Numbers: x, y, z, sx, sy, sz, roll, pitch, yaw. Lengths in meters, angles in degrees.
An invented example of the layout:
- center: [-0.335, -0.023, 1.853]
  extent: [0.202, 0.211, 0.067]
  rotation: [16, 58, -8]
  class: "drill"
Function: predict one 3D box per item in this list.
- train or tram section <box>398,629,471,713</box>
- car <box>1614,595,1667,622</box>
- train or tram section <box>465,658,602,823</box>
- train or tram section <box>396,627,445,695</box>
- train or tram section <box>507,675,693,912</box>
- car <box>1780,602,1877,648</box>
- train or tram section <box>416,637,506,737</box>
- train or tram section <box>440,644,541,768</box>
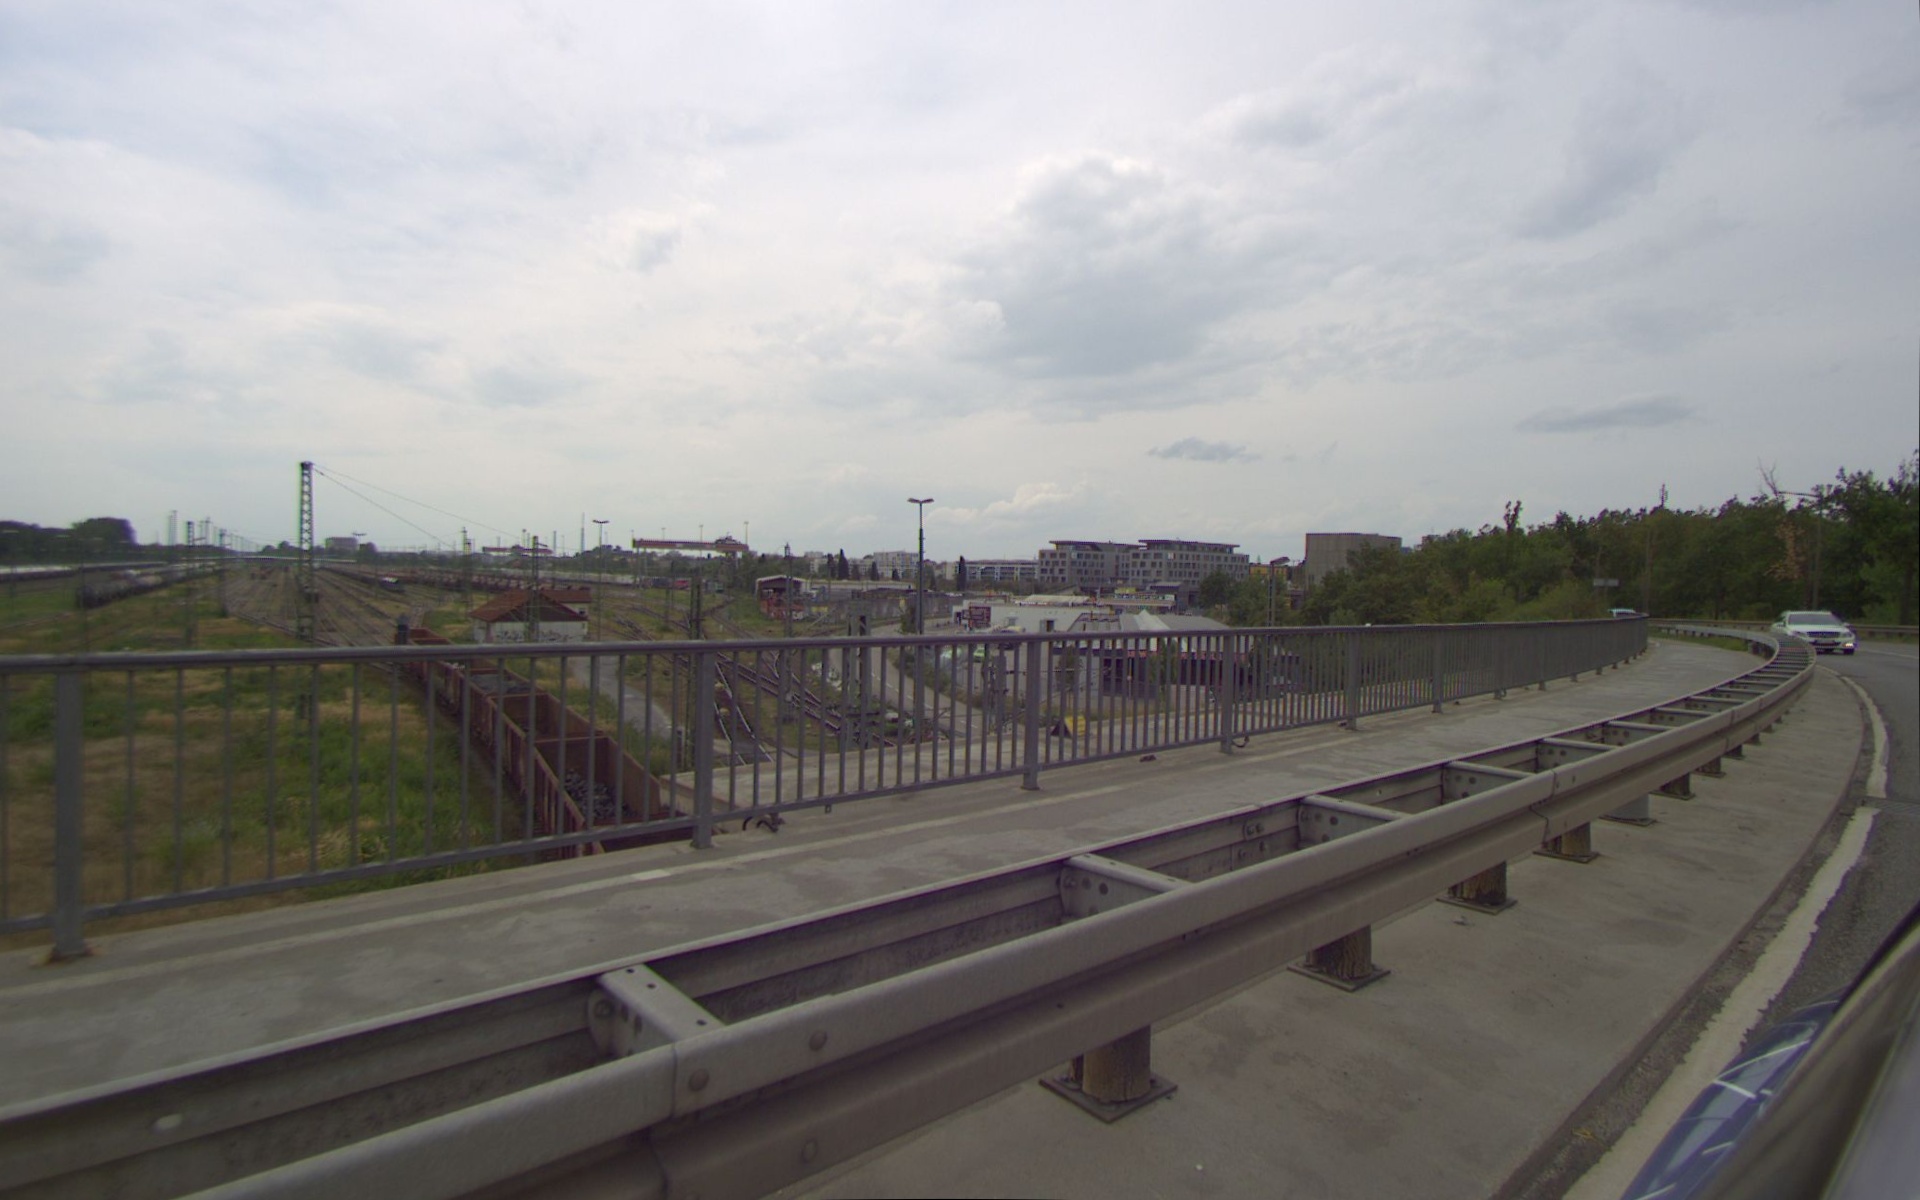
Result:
- center: [-44.476, 5.622, 85.197]
  extent: [3.883, 5.714, 18.285]
  rotation: [0, 0, -32]
  class: "train or tram section"
- center: [45.007, 0.588, 67.023]
  extent: [1.940, 1.726, 4.399]
  rotation: [0, -1, 22]
  class: "car"
- center: [-20.162, 5.936, 46.986]
  extent: [3.587, 5.669, 14.266]
  rotation: [0, 0, -32]
  class: "train or tram section"
- center: [-53.260, 5.713, 99.618]
  extent: [3.728, 5.695, 15.578]
  rotation: [0, 0, -30]
  class: "train or tram section"
- center: [-13.050, 5.960, 35.392]
  extent: [3.580, 5.644, 13.663]
  rotation: [0, 0, -31]
  class: "train or tram section"
- center: [29.746, 0.832, 34.785]
  extent: [1.923, 1.475, 3.842]
  rotation: [0, -1, 32]
  class: "car"
- center: [-35.360, 5.746, 71.230]
  extent: [3.900, 5.748, 15.020]
  rotation: [0, 0, -33]
  class: "train or tram section"
- center: [-27.600, 5.764, 58.993]
  extent: [3.768, 5.749, 13.918]
  rotation: [0, 0, -32]
  class: "train or tram section"
